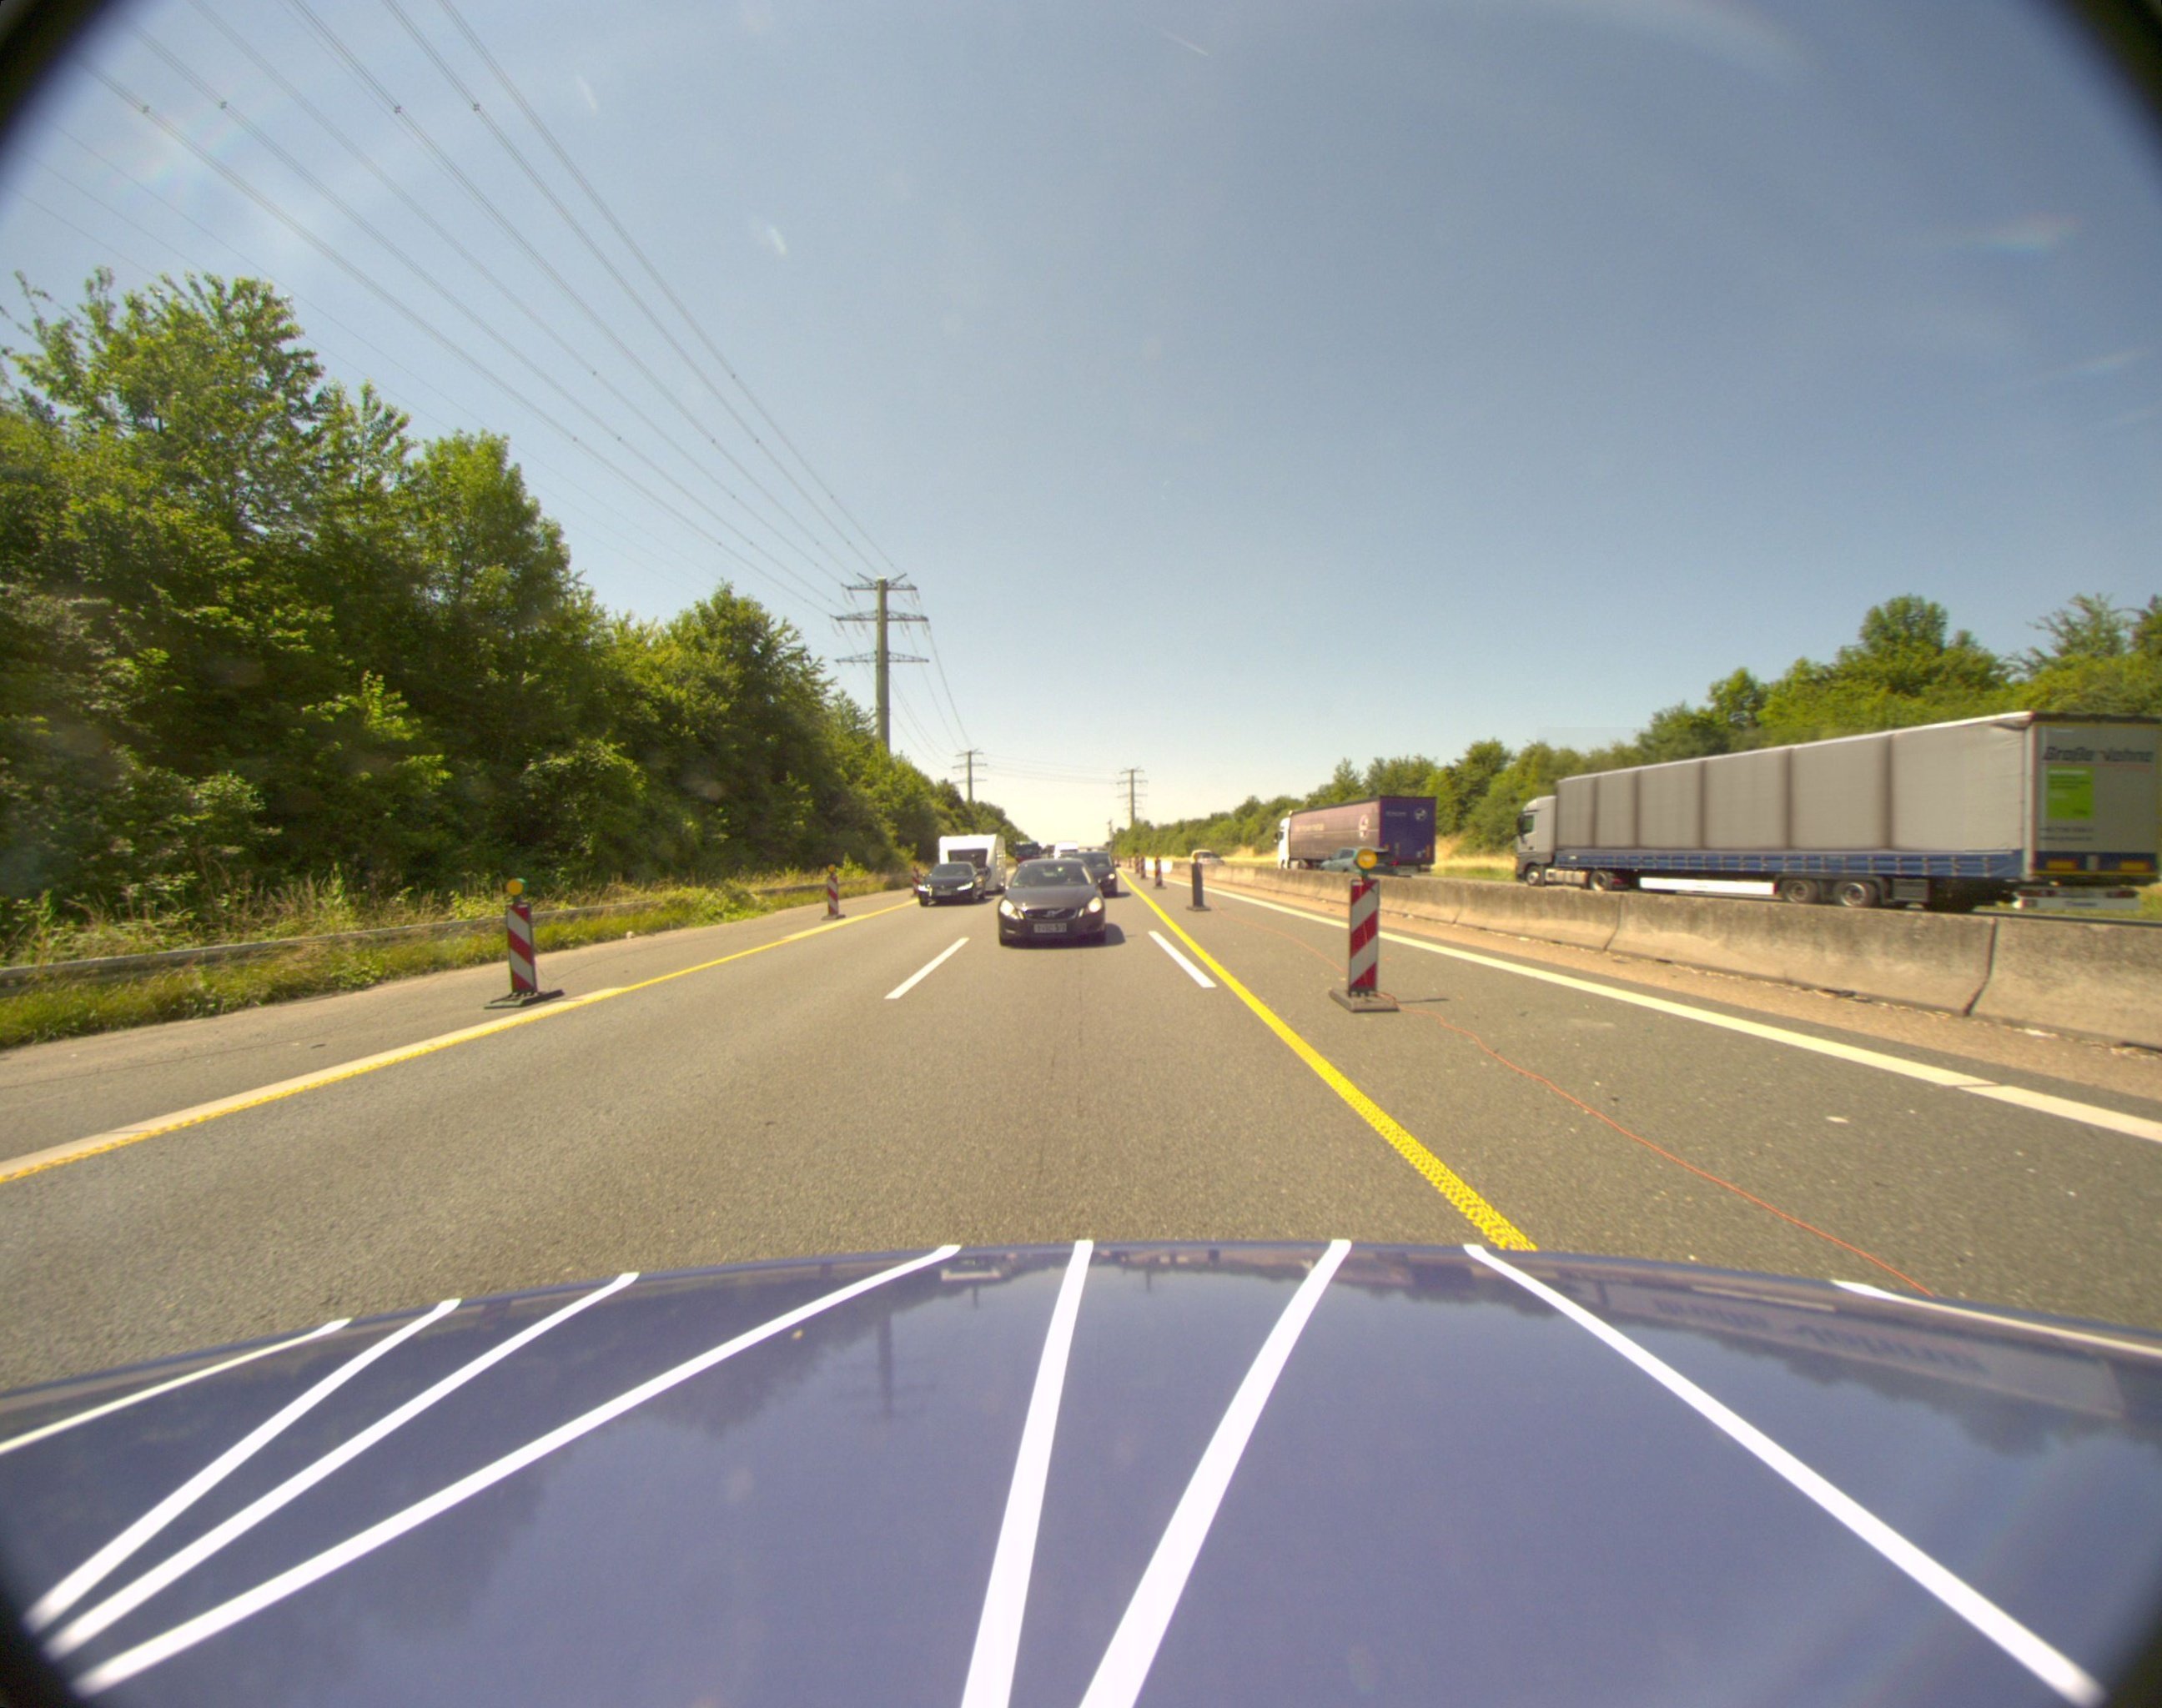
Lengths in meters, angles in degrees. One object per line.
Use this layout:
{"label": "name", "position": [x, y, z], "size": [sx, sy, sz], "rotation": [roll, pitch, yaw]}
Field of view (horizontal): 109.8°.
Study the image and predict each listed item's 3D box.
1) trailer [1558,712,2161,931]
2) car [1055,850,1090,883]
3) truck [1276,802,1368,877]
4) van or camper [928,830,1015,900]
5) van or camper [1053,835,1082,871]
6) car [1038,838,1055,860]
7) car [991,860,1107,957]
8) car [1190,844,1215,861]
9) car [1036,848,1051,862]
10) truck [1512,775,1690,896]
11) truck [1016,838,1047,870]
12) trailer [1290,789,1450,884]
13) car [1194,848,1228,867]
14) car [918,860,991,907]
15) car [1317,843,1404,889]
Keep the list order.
{"label": "trailer", "position": [19.052, -0.626, 20.967], "size": [2.961, 4.038, 13.635], "rotation": [1, 0, -1]}
{"label": "car", "position": [-0.419, 0.639, 41.862], "size": [1.744, 1.658, 4.157], "rotation": [-2, 0, 2]}
{"label": "truck", "position": [14.508, -0.836, 46.413], "size": [3.172, 4.200, 7.414], "rotation": [-1, 0, -1]}
{"label": "van or camper", "position": [-4.462, 0.397, 32.770], "size": [2.432, 2.549, 8.416], "rotation": [-2, 0, 0]}
{"label": "van or camper", "position": [-1.000, -0.084, 58.500], "size": [1.998, 2.604, 5.629], "rotation": [0, 0, 1]}
{"label": "car", "position": [-6.193, -0.958, 138.319], "size": [2.397, 3.779, 10.272], "rotation": [-3, 1, 1]}
{"label": "car", "position": [-0.500, 0.884, 14.098], "size": [1.799, 1.433, 4.000], "rotation": [-2, 0, 0]}
{"label": "car", "position": [13.128, -0.178, 82.571], "size": [1.871, 1.782, 5.454], "rotation": [-1, 0, 1]}
{"label": "car", "position": [-5.232, 0.170, 106.166], "size": [1.850, 1.810, 3.925], "rotation": [-3, 1, 0]}
{"label": "truck", "position": [18.919, -0.649, 28.081], "size": [2.953, 4.053, 5.195], "rotation": [0, 1, -1]}
{"label": "truck", "position": [-5.223, -0.057, 81.965], "size": [2.431, 3.122, 7.647], "rotation": [-4, 0, 2]}
{"label": "trailer", "position": [14.589, -0.817, 40.232], "size": [3.168, 4.156, 13.682], "rotation": [-1, 0, 0]}
{"label": "car", "position": [10.104, 0.243, 59.495], "size": [1.767, 1.463, 4.633], "rotation": [-1, 0, -2]}
{"label": "car", "position": [-4.309, 0.963, 26.460], "size": [1.800, 1.399, 4.209], "rotation": [-2, 0, 0]}
{"label": "car", "position": [11.108, 0.437, 30.540], "size": [1.846, 1.704, 4.395], "rotation": [-1, 0, 0]}
